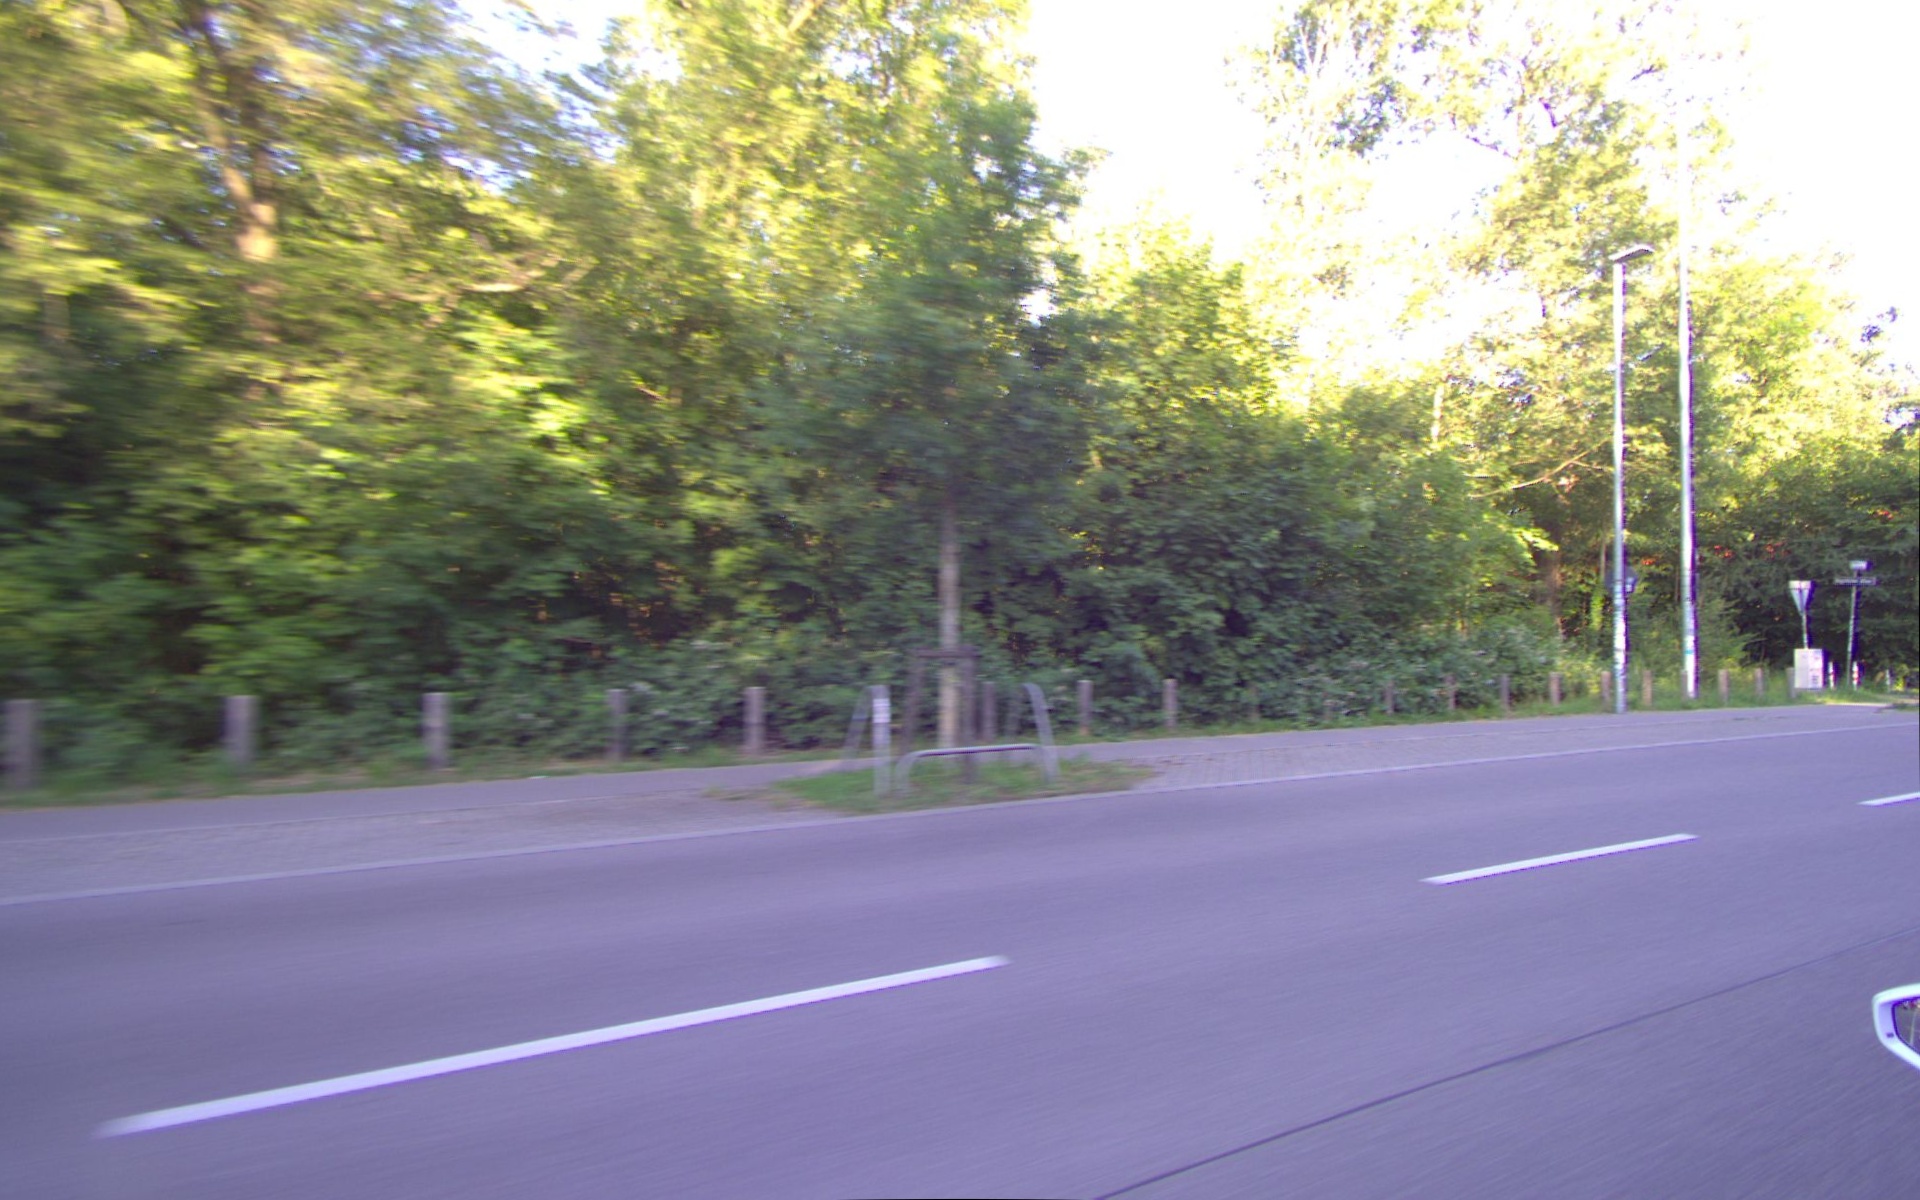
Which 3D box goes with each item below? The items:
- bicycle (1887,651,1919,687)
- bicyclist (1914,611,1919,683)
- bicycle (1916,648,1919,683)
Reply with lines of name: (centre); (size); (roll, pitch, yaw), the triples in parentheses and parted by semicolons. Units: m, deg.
bicycle: (25.972, 1.824, 26.597); (0.811, 0.947, 1.925); (1, -2, -18)
bicyclist: (25.996, 1.248, 26.573); (0.804, 1.926, 0.795); (1, -1, -19)
bicycle: (27.169, 1.799, 27.047); (0.811, 0.947, 1.925); (1, -1, -18)
